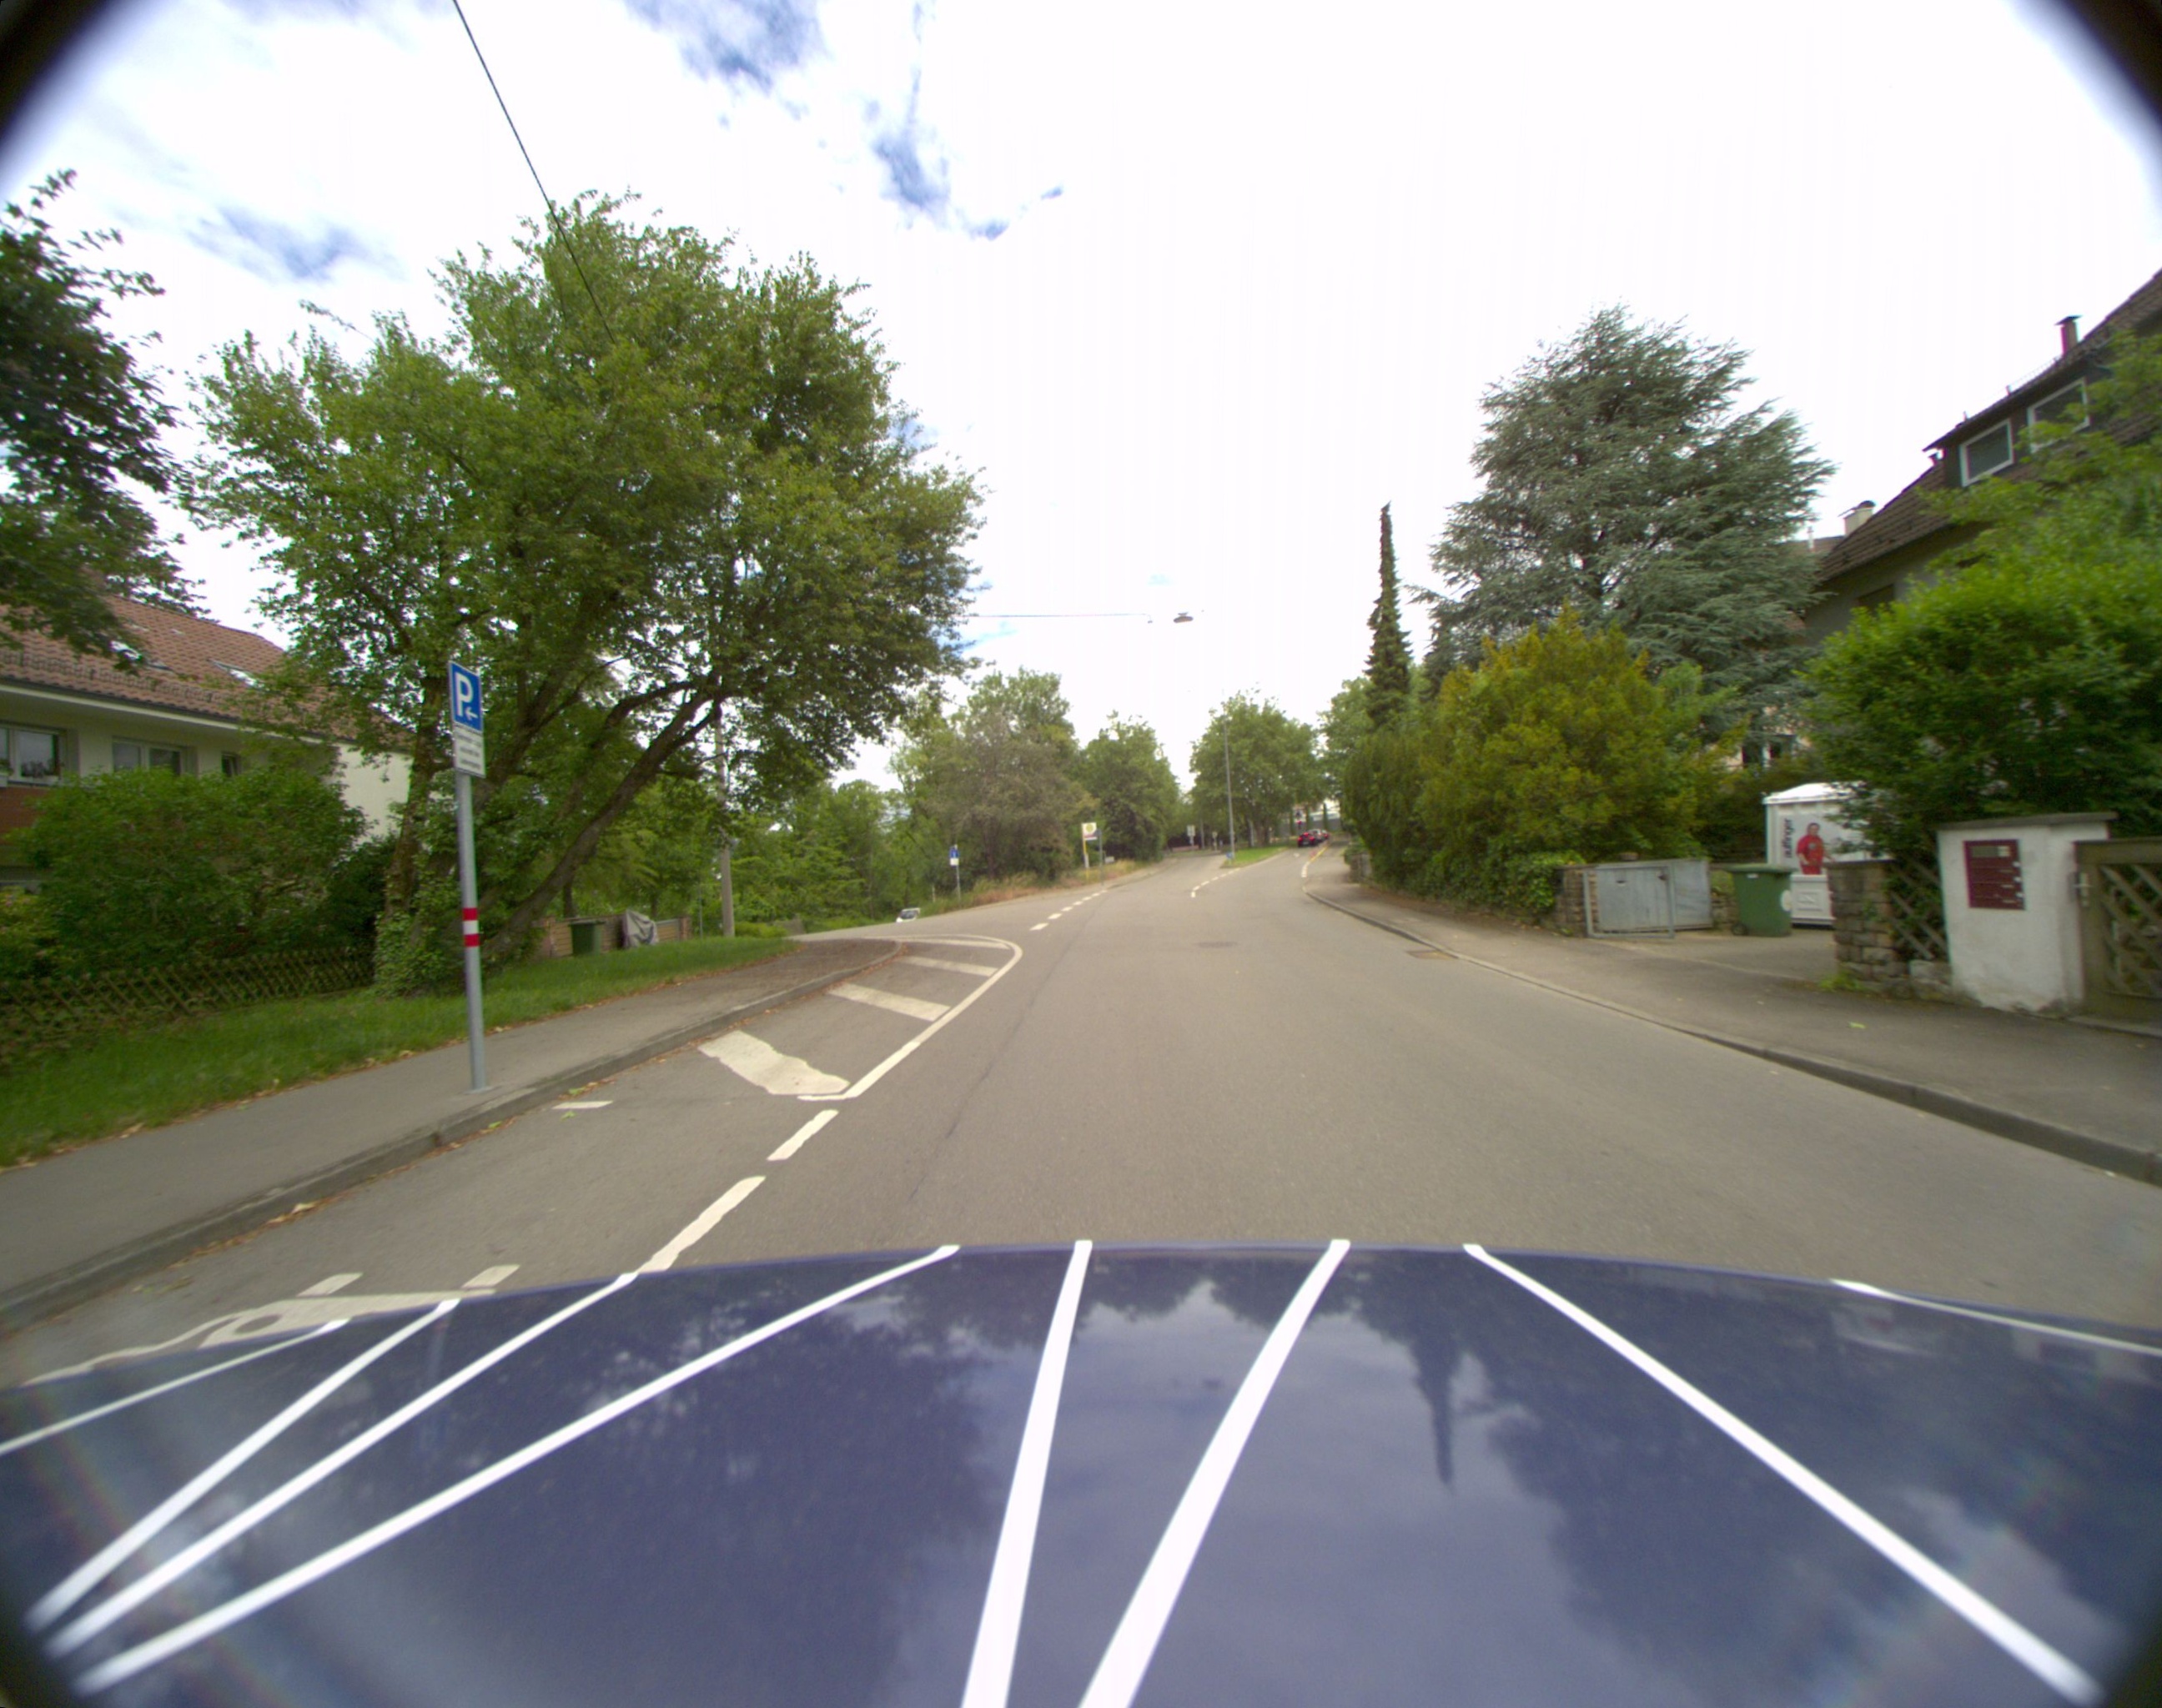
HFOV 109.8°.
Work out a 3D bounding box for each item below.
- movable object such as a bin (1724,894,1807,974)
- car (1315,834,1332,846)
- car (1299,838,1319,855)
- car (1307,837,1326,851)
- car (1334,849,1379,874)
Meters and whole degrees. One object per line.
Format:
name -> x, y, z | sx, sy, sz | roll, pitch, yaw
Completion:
movable object such as a bin -> 9.983, 1.145, 11.092 | 0.660, 1.081, 0.617 | -3, -1, -23
car -> 33.590, -1.951, 105.104 | 1.759, 1.508, 4.392 | -5, 1, 23
car -> 26.771, -0.864, 89.166 | 1.759, 1.583, 4.617 | -5, 3, 22
car -> 30.375, -1.252, 97.961 | 1.853, 1.648, 4.914 | -5, -1, 22
car -> 20.027, 0.541, 55.134 | 1.728, 1.465, 4.322 | -3, 1, 39
